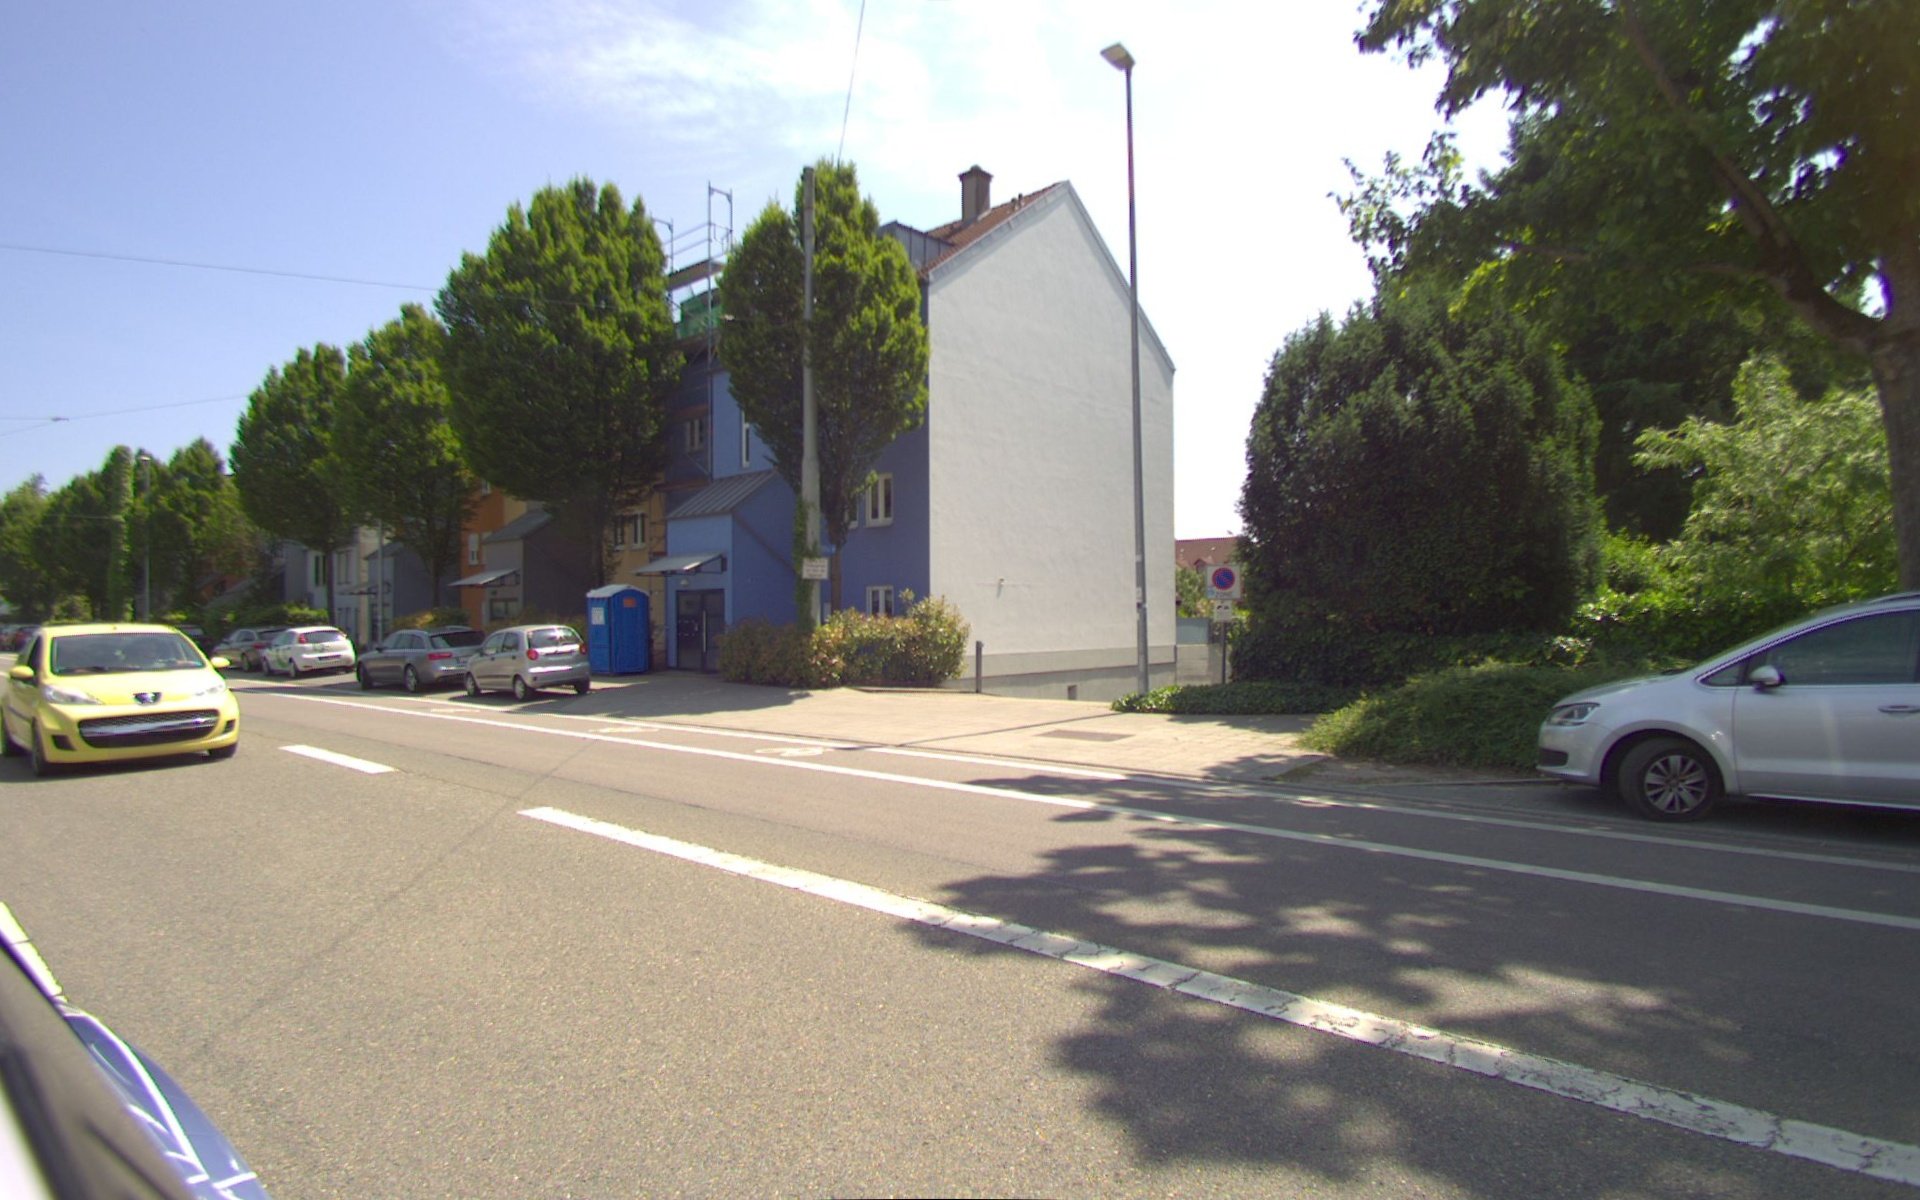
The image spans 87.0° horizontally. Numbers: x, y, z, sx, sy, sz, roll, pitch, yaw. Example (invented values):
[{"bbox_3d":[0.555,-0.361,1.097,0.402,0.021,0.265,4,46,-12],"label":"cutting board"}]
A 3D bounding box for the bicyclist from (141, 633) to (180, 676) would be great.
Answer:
[{"bbox_3d":[-27.225,1.851,34.474,1.123,1.442,0.728,-1,-5,38],"label":"bicyclist"}]

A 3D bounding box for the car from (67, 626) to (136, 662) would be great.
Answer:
[{"bbox_3d":[-41.983,2.134,49.464,4.142,1.601,1.750,-2,0,38],"label":"car"}]

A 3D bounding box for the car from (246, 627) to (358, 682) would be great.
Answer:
[{"bbox_3d":[-20.742,1.680,31.842,4.417,1.453,1.729,-2,3,41],"label":"car"}]

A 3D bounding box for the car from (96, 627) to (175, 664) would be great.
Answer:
[{"bbox_3d":[-37.404,2.043,45.873,4.752,1.507,1.807,-2,0,39],"label":"car"}]

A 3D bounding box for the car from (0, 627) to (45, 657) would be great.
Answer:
[{"bbox_3d":[-55.729,2.484,59.836,3.673,1.606,1.586,-2,0,35],"label":"car"}]

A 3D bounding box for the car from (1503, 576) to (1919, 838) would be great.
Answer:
[{"bbox_3d":[6.747,0.685,7.196,4.778,1.677,1.853,-2,-1,41],"label":"car"}]

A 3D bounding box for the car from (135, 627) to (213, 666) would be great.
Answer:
[{"bbox_3d":[-33.183,1.932,42.682,4.254,1.443,1.732,-2,1,40],"label":"car"}]

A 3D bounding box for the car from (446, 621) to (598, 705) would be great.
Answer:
[{"bbox_3d":[-9.418,1.290,21.678,3.447,1.506,1.577,-2,3,41],"label":"car"}]

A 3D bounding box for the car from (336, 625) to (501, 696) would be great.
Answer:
[{"bbox_3d":[-13.526,1.465,25.114,5.129,1.461,1.769,-3,2,40],"label":"car"}]

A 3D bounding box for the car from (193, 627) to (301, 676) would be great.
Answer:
[{"bbox_3d":[-24.878,1.757,35.233,4.744,1.440,1.688,-2,3,38],"label":"car"}]

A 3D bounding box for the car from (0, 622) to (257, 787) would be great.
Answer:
[{"bbox_3d":[-9.061,0.985,10.835,3.513,1.421,1.673,-2,0,40],"label":"car"}]

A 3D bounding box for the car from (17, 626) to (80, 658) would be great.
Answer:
[{"bbox_3d":[-50.874,2.340,56.466,4.490,1.594,1.823,-2,0,38],"label":"car"}]

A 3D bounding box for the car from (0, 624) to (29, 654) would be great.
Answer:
[{"bbox_3d":[-59.888,2.415,62.982,4.548,1.807,1.976,-1,-1,35],"label":"car"}]
